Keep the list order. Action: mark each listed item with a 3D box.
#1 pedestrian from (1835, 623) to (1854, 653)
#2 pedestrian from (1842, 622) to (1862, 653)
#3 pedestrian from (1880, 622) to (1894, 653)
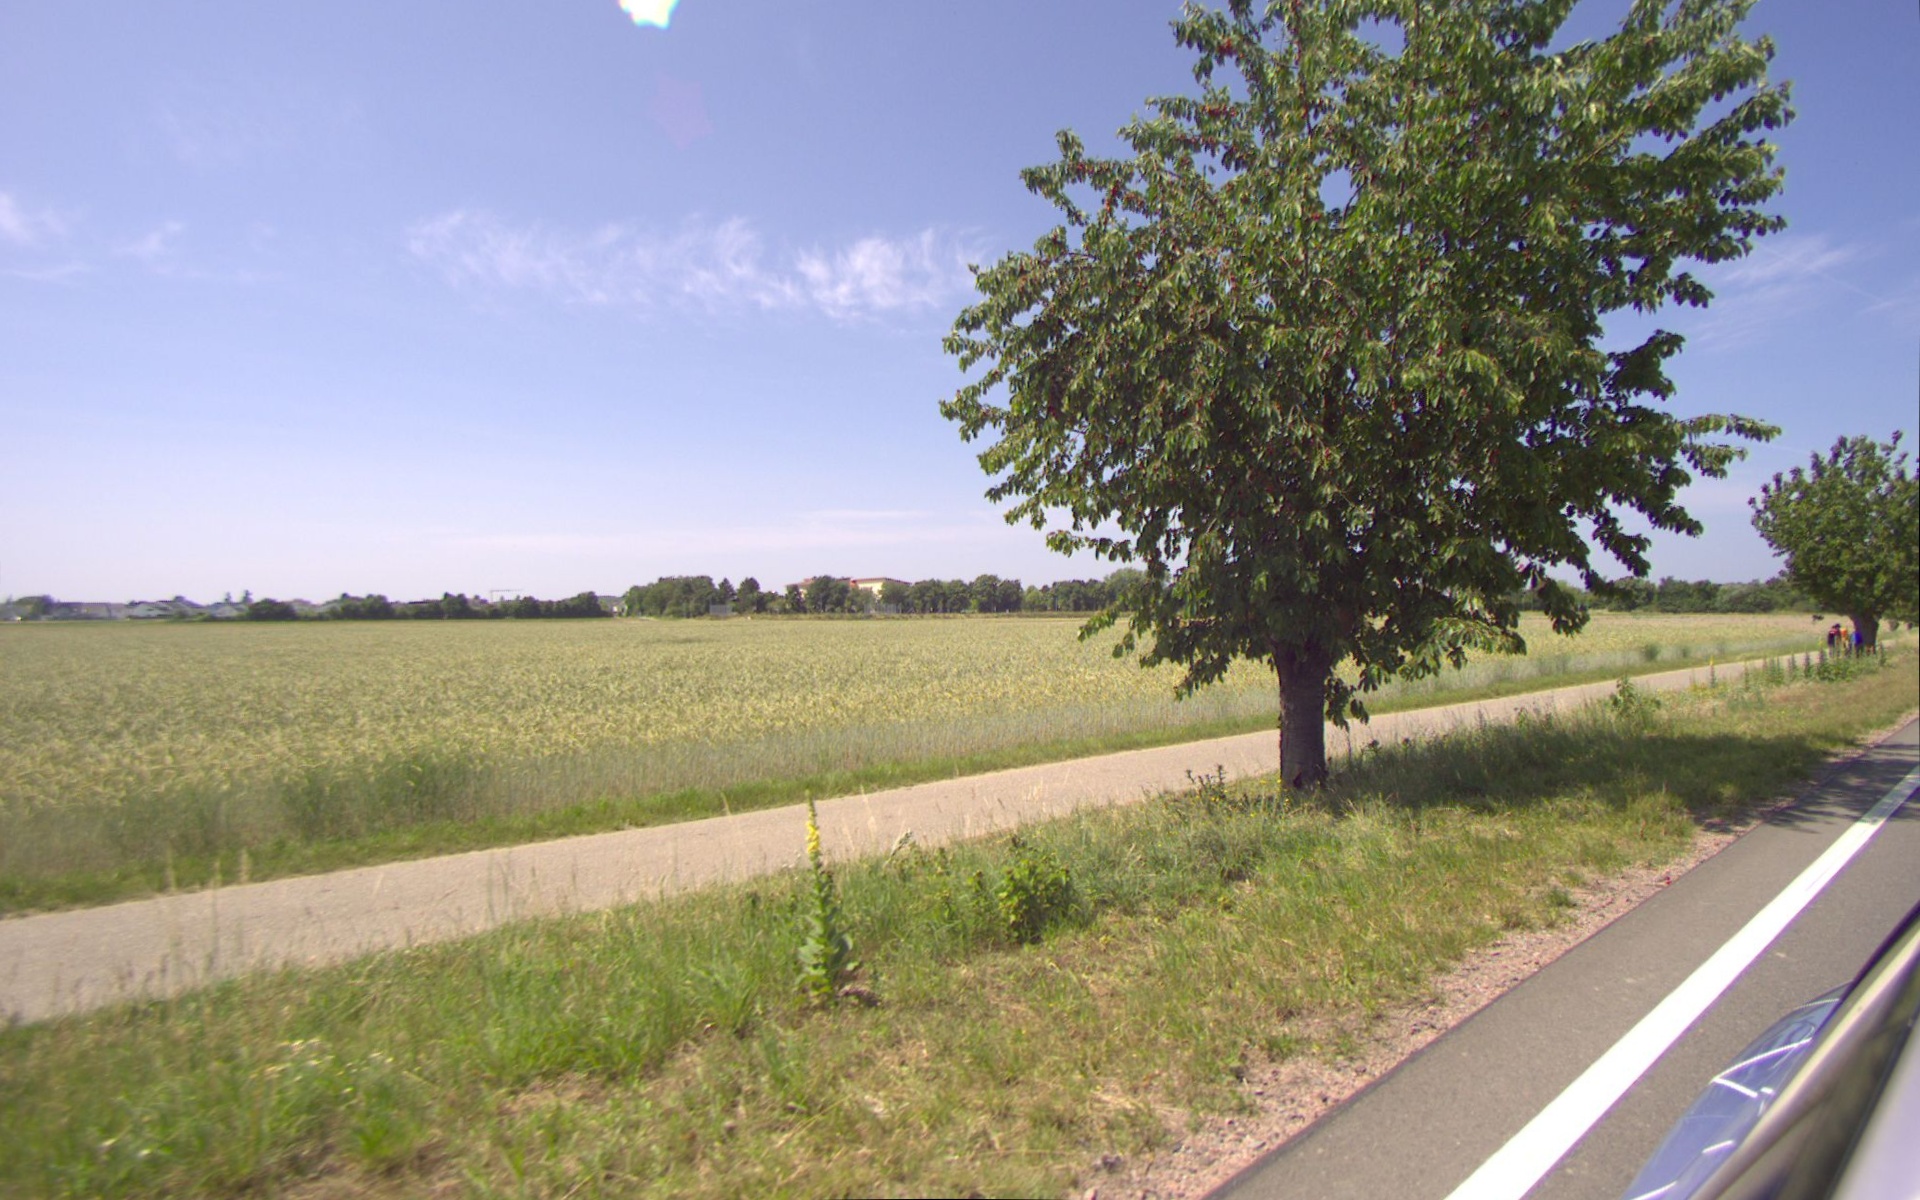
[{"bbox_3d":[39.207,1.698,44.858,0.434,1.312,0.486,0,0,5],"label":"pedestrian"},{"bbox_3d":[38.971,1.639,44.213,0.434,1.330,0.487,0,0,3],"label":"pedestrian"},{"bbox_3d":[40.366,1.614,44.071,0.440,1.312,0.479,0,-1,43],"label":"pedestrian"}]
